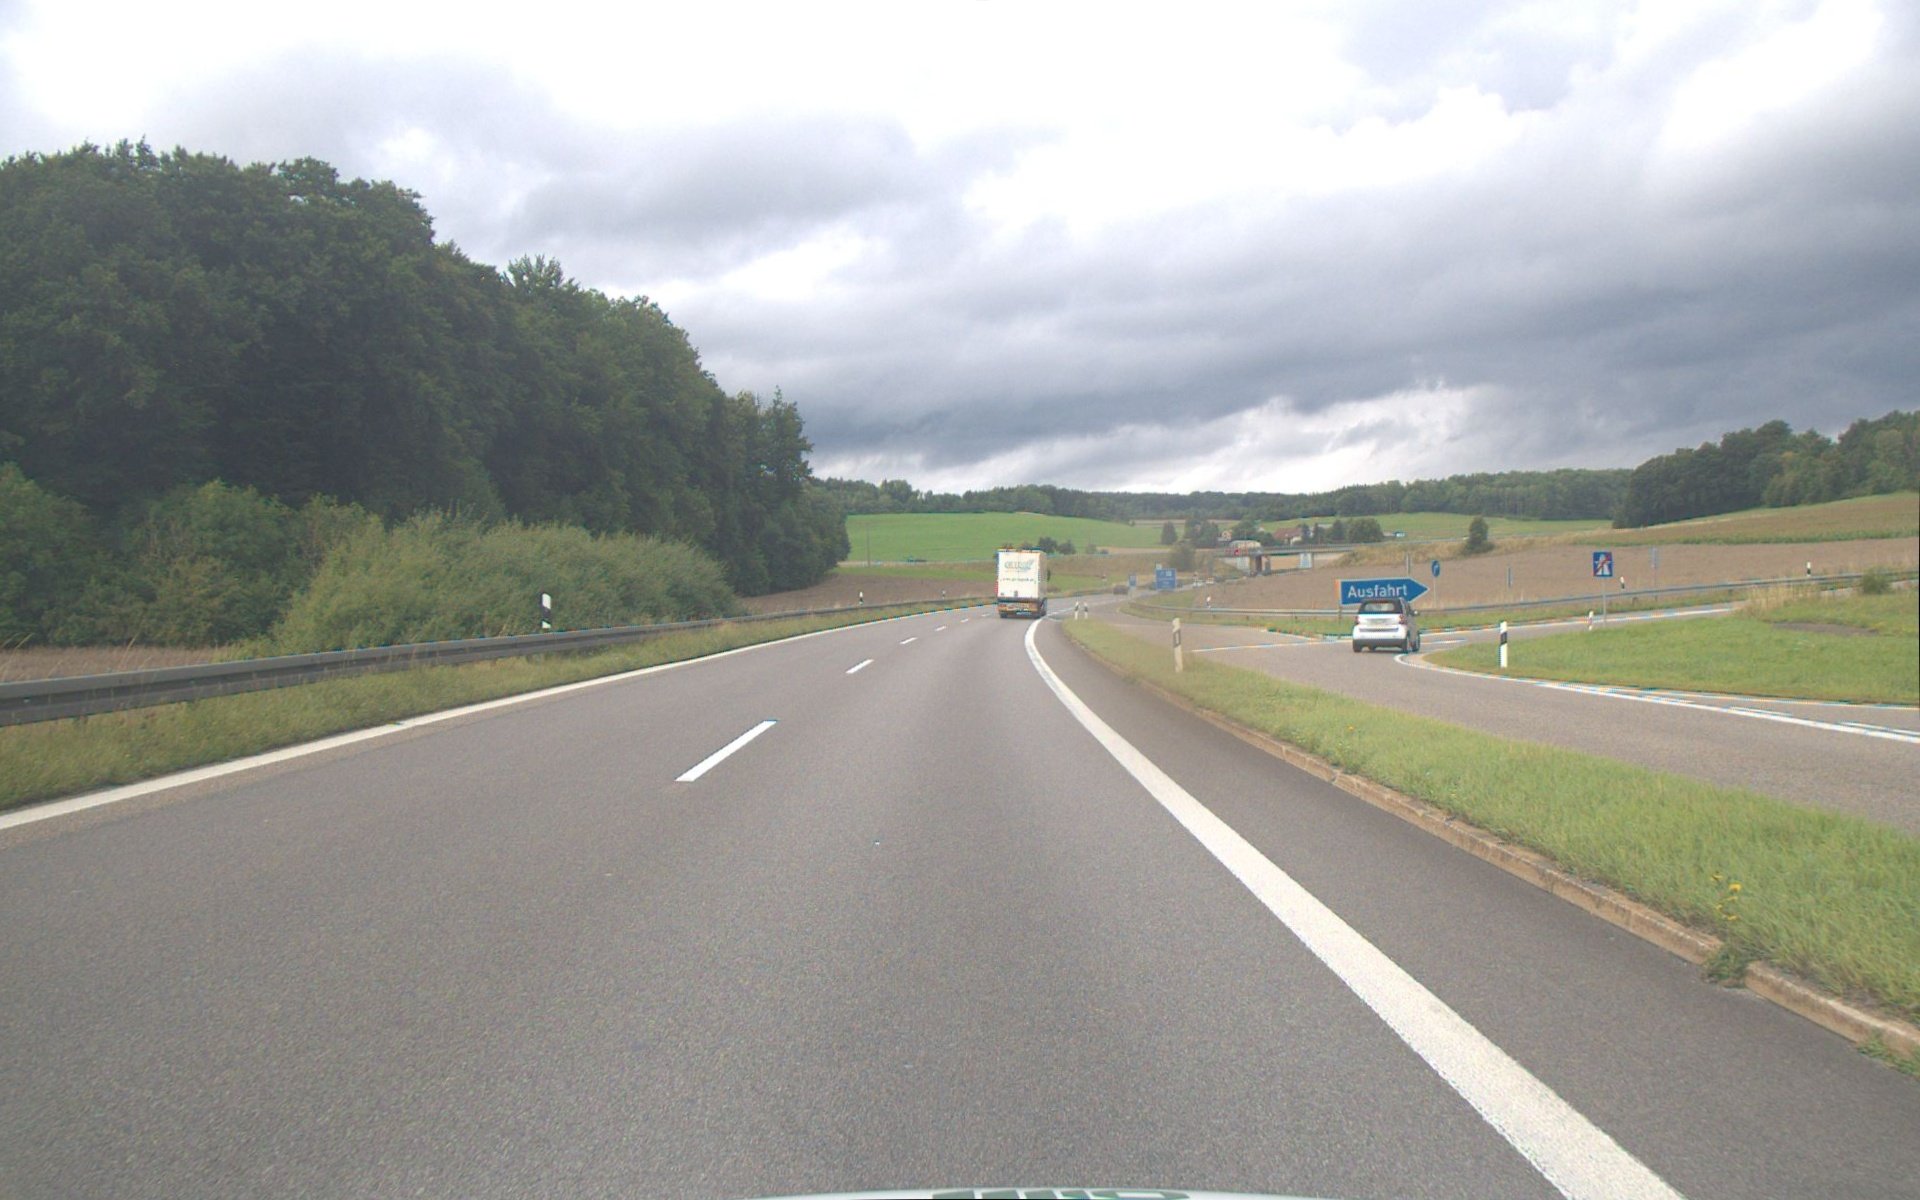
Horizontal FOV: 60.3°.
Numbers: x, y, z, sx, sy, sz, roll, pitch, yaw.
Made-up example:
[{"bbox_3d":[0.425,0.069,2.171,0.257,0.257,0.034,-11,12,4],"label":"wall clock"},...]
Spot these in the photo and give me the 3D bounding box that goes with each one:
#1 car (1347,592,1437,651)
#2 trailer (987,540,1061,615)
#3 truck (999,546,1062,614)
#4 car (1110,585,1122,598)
[{"bbox_3d":[12.589,0.587,48.053,1.743,1.579,3.996,-1,1,27],"label":"car"},{"bbox_3d":[4.158,-1.334,102.735,3.725,4.247,14.818,1,0,5],"label":"trailer"},{"bbox_3d":[4.773,-1.326,110.064,3.708,4.203,8.270,2,0,5],"label":"truck"},{"bbox_3d":[24.302,-1.342,257.745,1.862,1.827,4.002,0,-1,7],"label":"car"}]
